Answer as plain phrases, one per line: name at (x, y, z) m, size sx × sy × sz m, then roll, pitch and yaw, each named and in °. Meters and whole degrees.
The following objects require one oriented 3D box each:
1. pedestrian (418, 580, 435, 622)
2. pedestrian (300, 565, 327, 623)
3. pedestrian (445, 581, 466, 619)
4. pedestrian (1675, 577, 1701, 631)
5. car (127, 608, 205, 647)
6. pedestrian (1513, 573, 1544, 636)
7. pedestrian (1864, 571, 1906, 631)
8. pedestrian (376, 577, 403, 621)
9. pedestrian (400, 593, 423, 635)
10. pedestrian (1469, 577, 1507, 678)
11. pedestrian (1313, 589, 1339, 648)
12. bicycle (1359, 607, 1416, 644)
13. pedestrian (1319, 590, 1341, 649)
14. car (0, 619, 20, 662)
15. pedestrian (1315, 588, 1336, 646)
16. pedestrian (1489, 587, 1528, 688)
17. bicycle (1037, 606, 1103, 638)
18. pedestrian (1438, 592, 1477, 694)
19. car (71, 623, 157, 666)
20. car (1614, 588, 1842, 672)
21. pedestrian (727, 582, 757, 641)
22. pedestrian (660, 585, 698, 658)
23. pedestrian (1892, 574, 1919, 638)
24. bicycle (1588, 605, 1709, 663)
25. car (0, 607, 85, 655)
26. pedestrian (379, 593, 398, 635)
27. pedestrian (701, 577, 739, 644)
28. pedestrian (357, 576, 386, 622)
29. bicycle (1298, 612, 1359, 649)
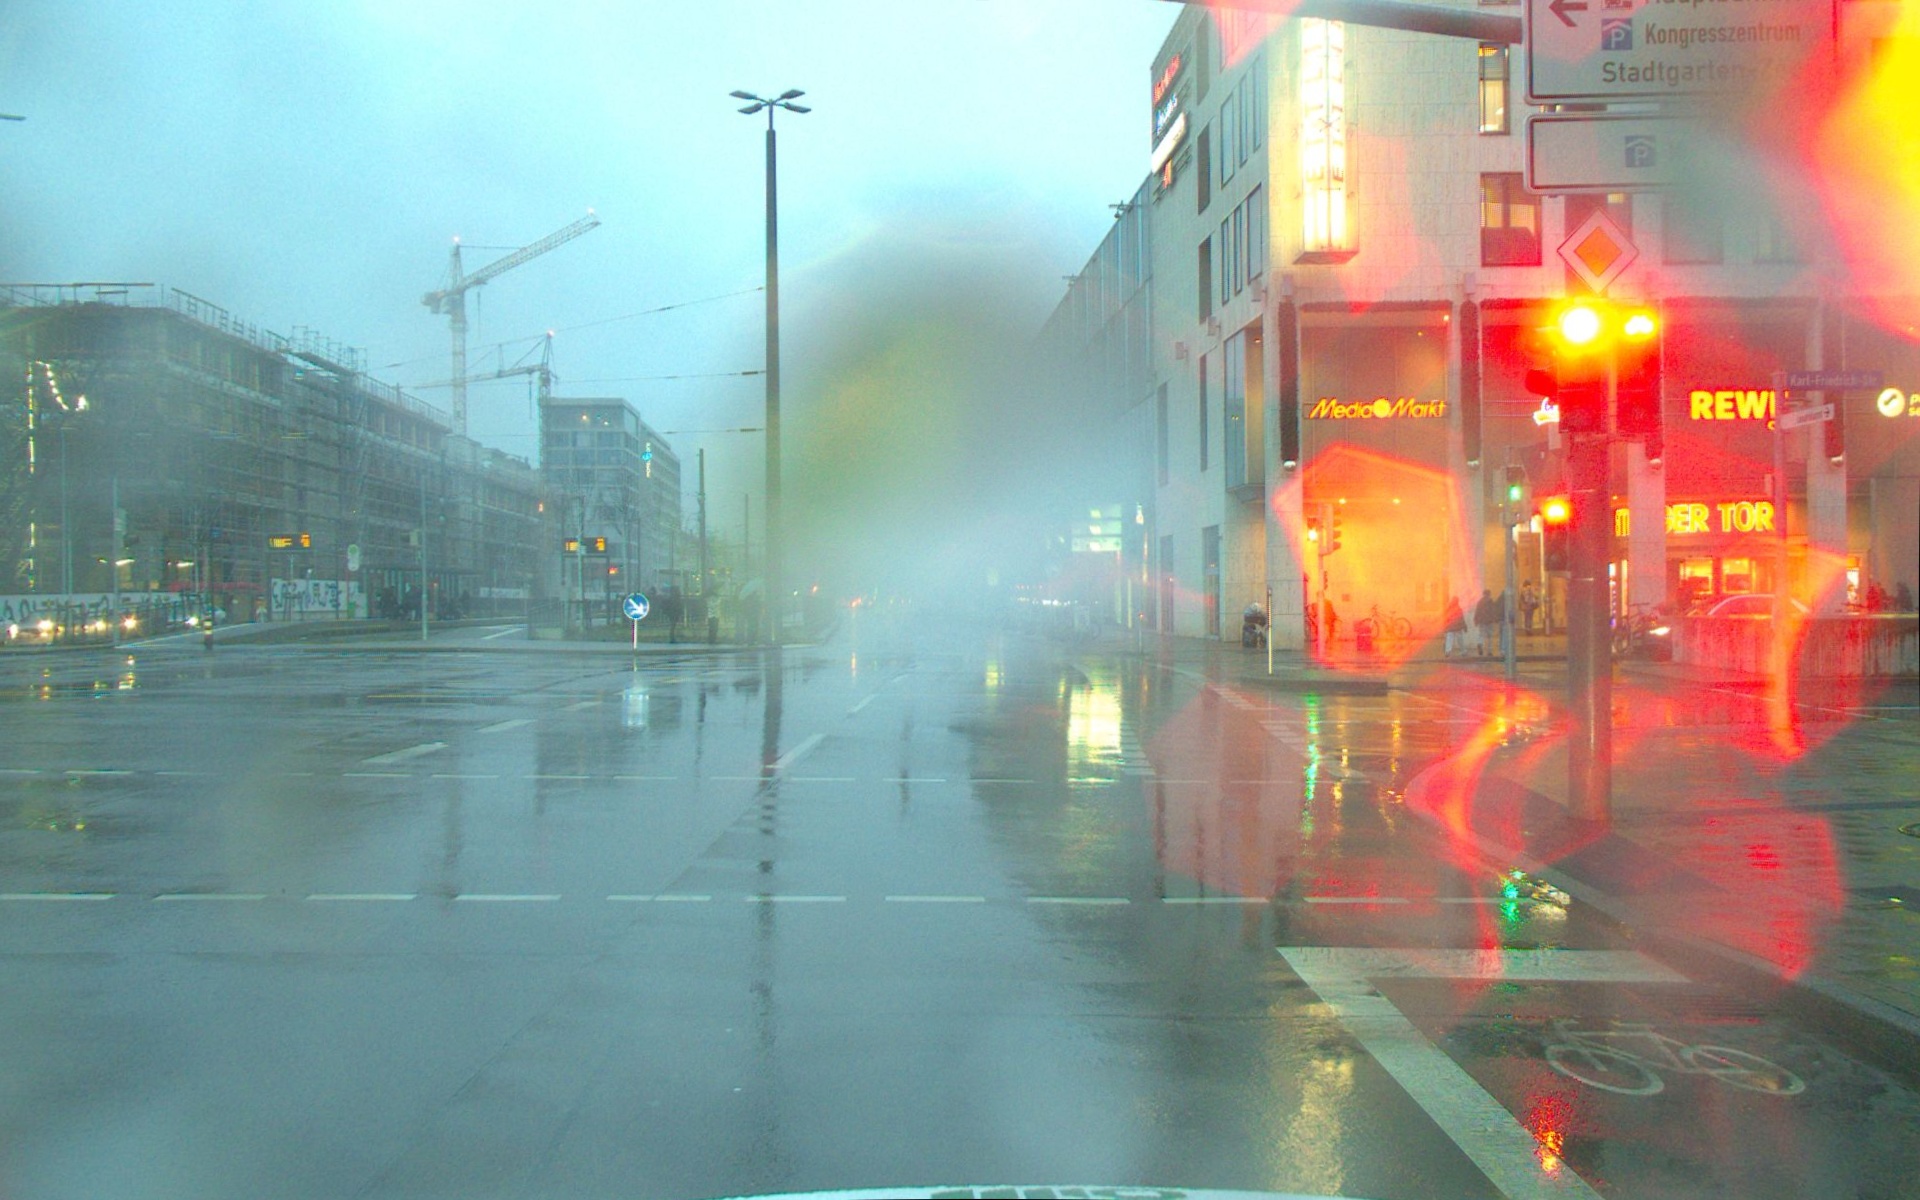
pedestrian at (-25.939, 0.050, 80.382) m, size 0.559 × 2.002 × 0.664 m, roll 2°, pitch -1°, yaw -7°
pedestrian at (-26.714, -0.225, 68.360) m, size 0.750 × 2.364 × 0.762 m, roll 1°, pitch -2°, yaw -1°
pedestrian at (-27.778, 0.007, 91.040) m, size 0.924 × 2.049 × 1.092 m, roll 1°, pitch -1°, yaw -8°
pedestrian at (23.706, 0.126, 53.874) m, size 0.721 × 1.748 × 0.738 m, roll -1°, pitch -1°, yaw 27°
car at (-38.248, 1.303, 79.787) m, size 1.954 × 1.822 × 3.997 m, roll 1°, pitch 0°, yaw -3°
pedestrian at (18.653, 0.150, 54.291) m, size 0.828 × 2.049 × 0.698 m, roll -1°, pitch 0°, yaw 8°
pedestrian at (26.870, 0.030, 48.043) m, size 0.875 × 1.714 × 0.528 m, roll -1°, pitch -1°, yaw -1°
pedestrian at (-26.873, -0.033, 77.915) m, size 0.923 × 2.049 × 1.093 m, roll 1°, pitch -1°, yaw -3°
pedestrian at (-25.844, 0.674, 77.931) m, size 0.750 × 1.931 × 0.762 m, roll 1°, pitch -2°, yaw -1°
pedestrian at (13.098, 0.673, 41.037) m, size 0.675 × 2.484 × 0.758 m, roll 1°, pitch -1°, yaw -1°
pedestrian at (10.869, 0.555, 49.114) m, size 0.624 × 1.739 × 0.573 m, roll -1°, pitch 0°, yaw -2°
bicycle at (13.176, 0.781, 51.002) m, size 1.614 × 1.088 × 0.524 m, roll 1°, pitch -1°, yaw -5°
pedestrian at (11.253, 0.584, 50.285) m, size 0.587 × 1.775 × 0.525 m, roll 1°, pitch -1°, yaw 7°
car at (-36.408, 1.514, 60.533) m, size 2.038 × 1.557 × 4.604 m, roll -1°, pitch 0°, yaw -10°
pedestrian at (10.821, 0.504, 48.987) m, size 0.476 × 1.692 × 0.457 m, roll -1°, pitch -1°, yaw 30°
pedestrian at (13.801, 0.940, 41.628) m, size 0.679 × 2.491 × 0.791 m, roll 1°, pitch -1°, yaw -1°
bicycle at (4.080, 0.821, 61.622) m, size 2.393 × 1.174 × 0.674 m, roll -1°, pitch -1°, yaw -2°
pedestrian at (12.330, 1.060, 41.016) m, size 0.700 × 2.484 × 0.758 m, roll 1°, pitch -1°, yaw -1°
car at (-37.935, 1.964, 74.237) m, size 1.954 × 1.822 × 3.997 m, roll 1°, pitch 0°, yaw -3°
car at (16.235, 0.624, 35.124) m, size 3.905 × 1.646 × 2.000 m, roll 1°, pitch 0°, yaw 0°
pedestrian at (-6.299, 0.333, 47.846) m, size 0.601 × 1.715 × 0.575 m, roll 0°, pitch -1°, yaw 41°
pedestrian at (-8.027, 0.618, 47.212) m, size 0.771 × 2.049 × 0.724 m, roll 0°, pitch -1°, yaw 41°
pedestrian at (26.128, 0.165, 45.042) m, size 1.009 × 1.713 × 0.824 m, roll 1°, pitch -1°, yaw -1°
bicycle at (17.201, 0.840, 41.352) m, size 2.659 × 1.383 × 0.957 m, roll -1°, pitch -1°, yaw -4°
car at (-37.243, 1.226, 67.052) m, size 1.830 × 1.860 × 3.993 m, roll 1°, pitch 0°, yaw -8°
pedestrian at (-26.451, 0.643, 76.532) m, size 0.684 × 1.913 × 0.553 m, roll 1°, pitch -1°, yaw -2°
pedestrian at (-6.746, 0.298, 46.444) m, size 0.813 × 1.863 × 0.777 m, roll 1°, pitch -1°, yaw -31°
pedestrian at (-26.819, -0.043, 75.418) m, size 0.923 × 2.049 × 1.093 m, roll 1°, pitch -1°, yaw -3°
bicycle at (11.327, 0.931, 50.820) m, size 1.732 × 1.088 × 0.524 m, roll 1°, pitch -1°, yaw -4°
